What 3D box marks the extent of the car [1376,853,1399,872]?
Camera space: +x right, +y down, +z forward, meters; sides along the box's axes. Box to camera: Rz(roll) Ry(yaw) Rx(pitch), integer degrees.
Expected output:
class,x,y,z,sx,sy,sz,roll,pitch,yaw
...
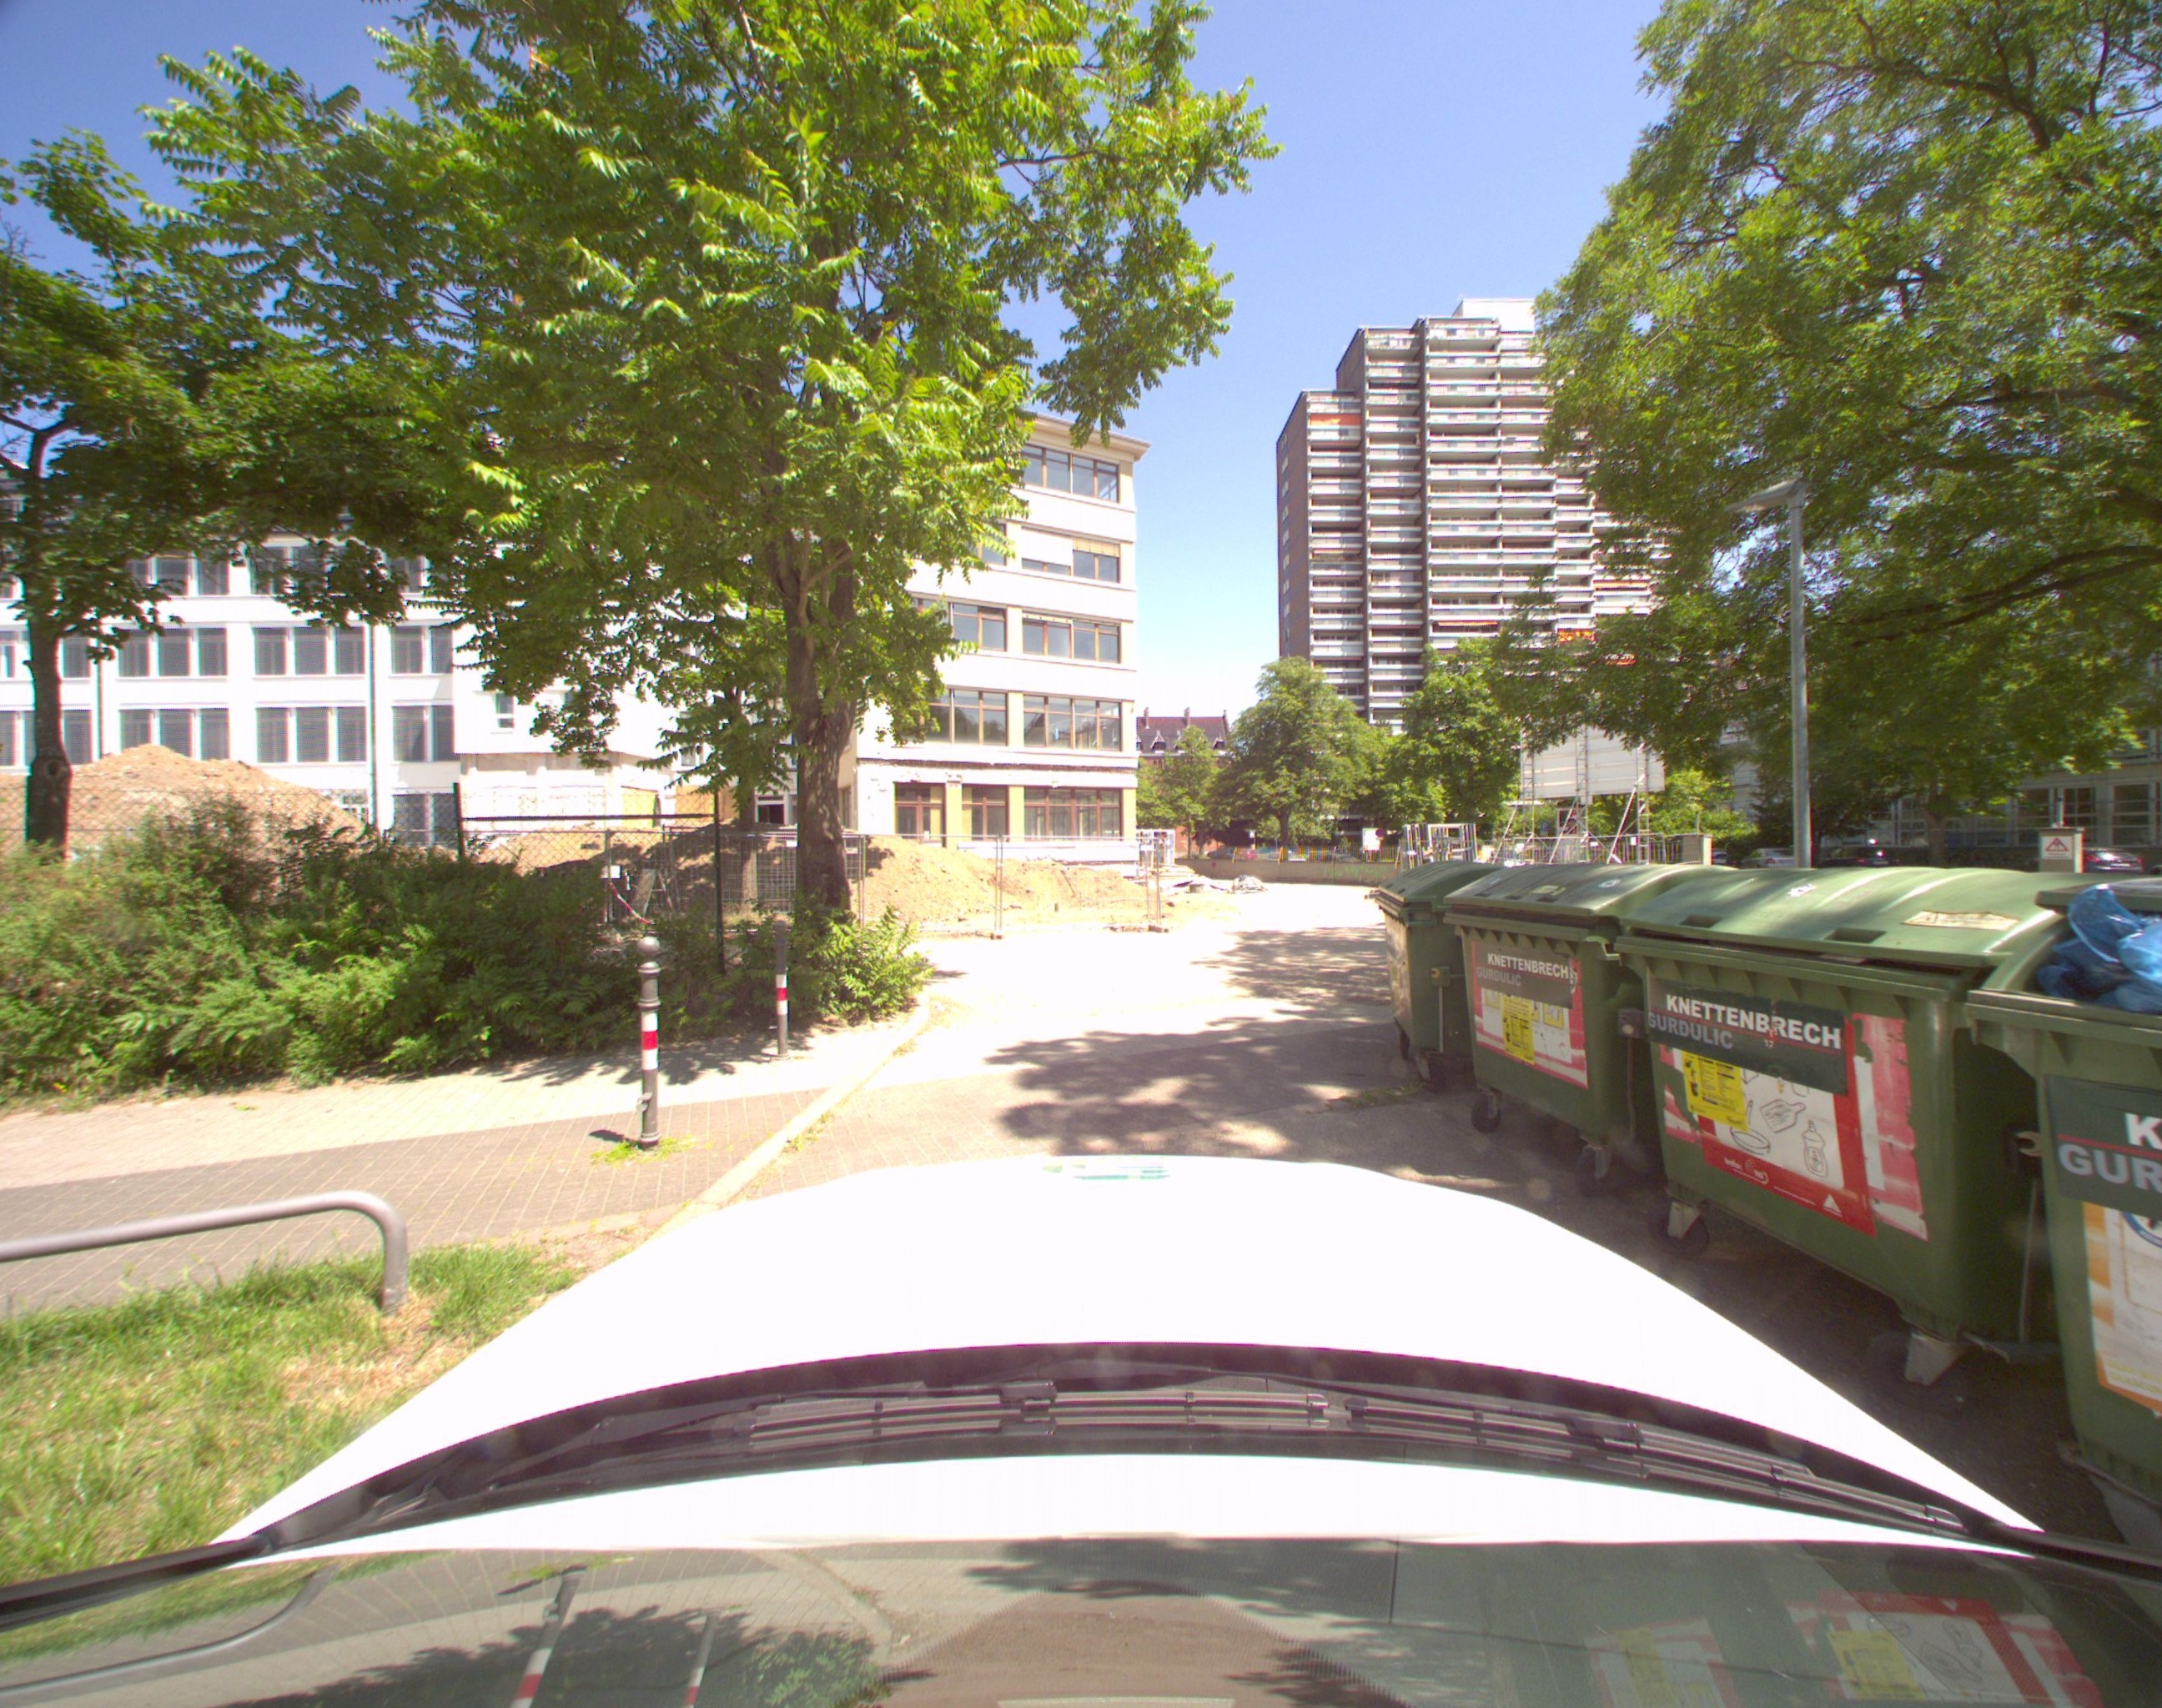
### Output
class,x,y,z,sx,sy,sz,roll,pitch,yaw
car,23.087,0.629,61.291,1.619,1.387,3.697,-1,0,21

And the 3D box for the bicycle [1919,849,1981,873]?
class,x,y,z,sx,sy,sz,roll,pitch,yaw
bicycle,43.591,0.366,40.850,2.372,1.157,0.782,-1,0,-4

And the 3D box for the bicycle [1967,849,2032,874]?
class,x,y,z,sx,sy,sz,roll,pitch,yaw
bicycle,43.713,0.358,38.761,2.372,1.157,0.782,-1,0,-4

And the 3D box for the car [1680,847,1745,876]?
class,x,y,z,sx,sy,sz,roll,pitch,yaw
car,32.959,0.384,42.609,1.619,1.463,3.696,-1,0,20

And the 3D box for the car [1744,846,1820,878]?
class,x,y,z,sx,sy,sz,roll,pitch,yaw
car,34.554,0.384,40.248,1.619,1.463,3.696,-1,0,20

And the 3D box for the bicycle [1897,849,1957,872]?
class,x,y,z,sx,sy,sz,roll,pitch,yaw
bicycle,43.561,0.345,41.948,2.372,1.157,0.782,-1,0,-4

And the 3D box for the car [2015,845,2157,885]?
class,x,y,z,sx,sy,sz,roll,pitch,yaw
car,39.033,0.421,31.764,1.627,1.463,3.693,-1,0,15

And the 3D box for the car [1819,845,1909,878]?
class,x,y,z,sx,sy,sz,roll,pitch,yaw
car,35.931,0.325,37.489,1.619,1.463,3.696,-1,0,20

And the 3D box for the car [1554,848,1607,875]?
class,x,y,z,sx,sy,sz,roll,pitch,yaw
car,28.538,0.406,46.613,1.621,1.463,3.693,-1,0,16

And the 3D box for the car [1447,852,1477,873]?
class,x,y,z,sx,sy,sz,roll,pitch,yaw
car,26.359,0.541,56.468,1.619,1.387,3.697,-1,0,21

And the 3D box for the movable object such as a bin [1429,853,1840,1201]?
class,x,y,z,sx,sy,sz,roll,pitch,yaw
movable object such as a bin,2.681,0.742,4.173,1.177,1.470,1.309,0,-1,-4

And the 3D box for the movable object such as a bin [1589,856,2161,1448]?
class,x,y,z,sx,sy,sz,roll,pitch,yaw
movable object such as a bin,2.717,0.749,2.731,1.176,1.470,1.310,0,-1,-3

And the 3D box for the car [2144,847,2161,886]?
class,x,y,z,sx,sy,sz,roll,pitch,yaw
car,40.303,0.452,28.731,1.594,1.445,3.695,-1,0,18

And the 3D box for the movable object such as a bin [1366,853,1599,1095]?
class,x,y,z,sx,sy,sz,roll,pitch,yaw
movable object such as a bin,2.704,0.737,5.713,1.171,1.470,1.337,-1,-1,12

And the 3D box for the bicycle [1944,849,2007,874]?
class,x,y,z,sx,sy,sz,roll,pitch,yaw
bicycle,43.674,0.353,39.778,2.372,1.157,0.782,-1,0,-4

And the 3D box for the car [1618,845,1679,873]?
class,x,y,z,sx,sy,sz,roll,pitch,yaw
car,31.104,0.259,44.736,1.621,1.463,3.693,-1,0,16

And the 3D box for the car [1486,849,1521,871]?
class,x,y,z,sx,sy,sz,roll,pitch,yaw
car,27.632,0.406,53.339,1.619,1.387,3.697,-1,0,21

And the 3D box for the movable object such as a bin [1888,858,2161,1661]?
class,x,y,z,sx,sy,sz,roll,pitch,yaw
movable object such as a bin,2.579,0.739,1.347,1.177,1.470,1.309,0,-1,-5
